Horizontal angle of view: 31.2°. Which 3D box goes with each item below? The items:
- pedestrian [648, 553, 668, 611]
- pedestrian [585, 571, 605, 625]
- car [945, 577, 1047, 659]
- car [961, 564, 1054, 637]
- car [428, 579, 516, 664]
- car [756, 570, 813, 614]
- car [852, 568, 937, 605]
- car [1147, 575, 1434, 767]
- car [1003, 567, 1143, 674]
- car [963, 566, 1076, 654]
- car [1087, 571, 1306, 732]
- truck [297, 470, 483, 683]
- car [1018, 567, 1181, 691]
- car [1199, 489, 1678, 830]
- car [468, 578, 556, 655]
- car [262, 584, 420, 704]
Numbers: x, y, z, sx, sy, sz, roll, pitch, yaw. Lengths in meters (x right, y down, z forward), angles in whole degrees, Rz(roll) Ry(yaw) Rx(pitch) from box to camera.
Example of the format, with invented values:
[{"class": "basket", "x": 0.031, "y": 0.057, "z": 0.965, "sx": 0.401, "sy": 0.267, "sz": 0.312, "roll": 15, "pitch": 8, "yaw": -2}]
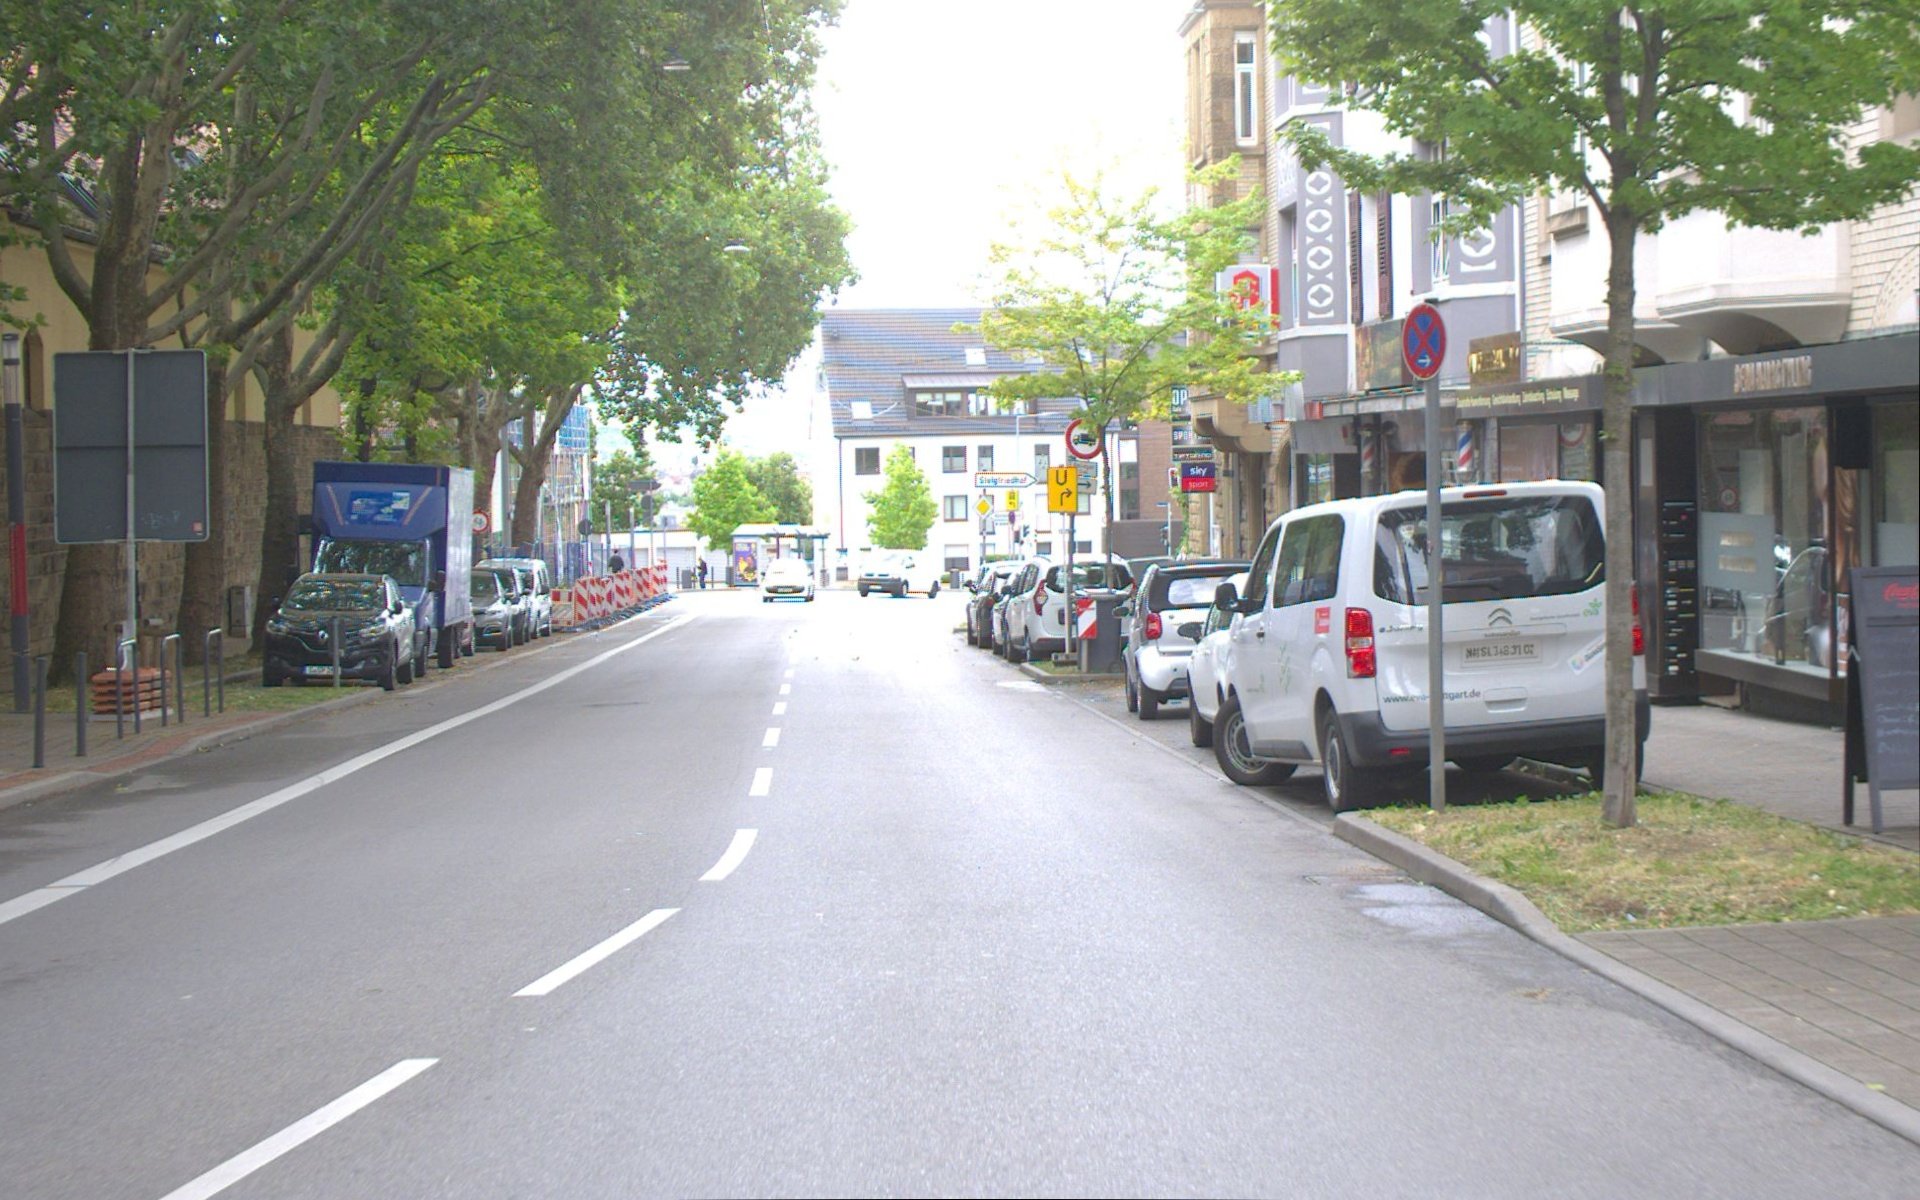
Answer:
[{"class": "pedestrian", "x": -10.628, "y": -0.632, "z": 121.110, "sx": 0.633, "sy": 2.007, "sz": 0.784, "roll": -1, "pitch": 0, "yaw": -1}, {"class": "pedestrian", "x": -13.545, "y": -0.073, "z": 127.637, "sx": 0.633, "sy": 1.988, "sz": 0.784, "roll": -1, "pitch": 0, "yaw": -1}, {"class": "car", "x": 0.691, "y": 0.337, "z": 68.816, "sx": 1.668, "sy": 1.542, "sz": 3.757, "roll": -1, "pitch": 1, "yaw": -5}, {"class": "car", "x": 1.029, "y": -0.009, "z": 75.808, "sx": 1.668, "sy": 1.542, "sz": 3.757, "roll": -1, "pitch": 1, "yaw": -5}, {"class": "car", "x": -9.811, "y": 0.408, "z": 69.272, "sx": 1.533, "sy": 1.633, "sz": 3.719, "roll": -1, "pitch": 1, "yaw": -5}, {"class": "car", "x": -6.055, "y": -0.283, "z": 118.916, "sx": 1.864, "sy": 1.484, "sz": 3.880, "roll": -1, "pitch": 1, "yaw": -2}, {"class": "car", "x": -2.622, "y": -0.549, "z": 138.421, "sx": 1.679, "sy": 1.419, "sz": 4.169, "roll": 0, "pitch": 1, "yaw": 26}, {"class": "car", "x": 2.626, "y": 0.527, "z": 28.121, "sx": 1.668, "sy": 1.427, "sz": 3.757, "roll": -1, "pitch": 1, "yaw": -5}, {"class": "car", "x": 1.670, "y": 0.281, "z": 51.901, "sx": 1.668, "sy": 1.542, "sz": 3.757, "roll": -1, "pitch": 1, "yaw": -5}, {"class": "car", "x": 1.051, "y": 0.159, "z": 62.730, "sx": 1.668, "sy": 1.542, "sz": 3.757, "roll": -1, "pitch": 1, "yaw": -5}, {"class": "car", "x": 2.375, "y": 0.484, "z": 35.362, "sx": 1.668, "sy": 1.542, "sz": 3.757, "roll": -1, "pitch": 1, "yaw": -5}, {"class": "truck", "x": -9.477, "y": -0.410, "z": 57.780, "sx": 2.230, "sy": 3.335, "sz": 7.450, "roll": -1, "pitch": 1, "yaw": -3}, {"class": "car", "x": 1.807, "y": 0.350, "z": 45.583, "sx": 1.668, "sy": 1.542, "sz": 3.757, "roll": -1, "pitch": 1, "yaw": -5}, {"class": "car", "x": 2.924, "y": 0.311, "z": 22.192, "sx": 1.993, "sy": 1.929, "sz": 4.920, "roll": -1, "pitch": 1, "yaw": -5}, {"class": "car", "x": -10.440, "y": 0.370, "z": 80.293, "sx": 1.609, "sy": 1.722, "sz": 4.000, "roll": -1, "pitch": 1, "yaw": -2}, {"class": "car", "x": -8.679, "y": 0.583, "z": 48.420, "sx": 1.834, "sy": 1.572, "sz": 3.757, "roll": -1, "pitch": 1, "yaw": -5}]
